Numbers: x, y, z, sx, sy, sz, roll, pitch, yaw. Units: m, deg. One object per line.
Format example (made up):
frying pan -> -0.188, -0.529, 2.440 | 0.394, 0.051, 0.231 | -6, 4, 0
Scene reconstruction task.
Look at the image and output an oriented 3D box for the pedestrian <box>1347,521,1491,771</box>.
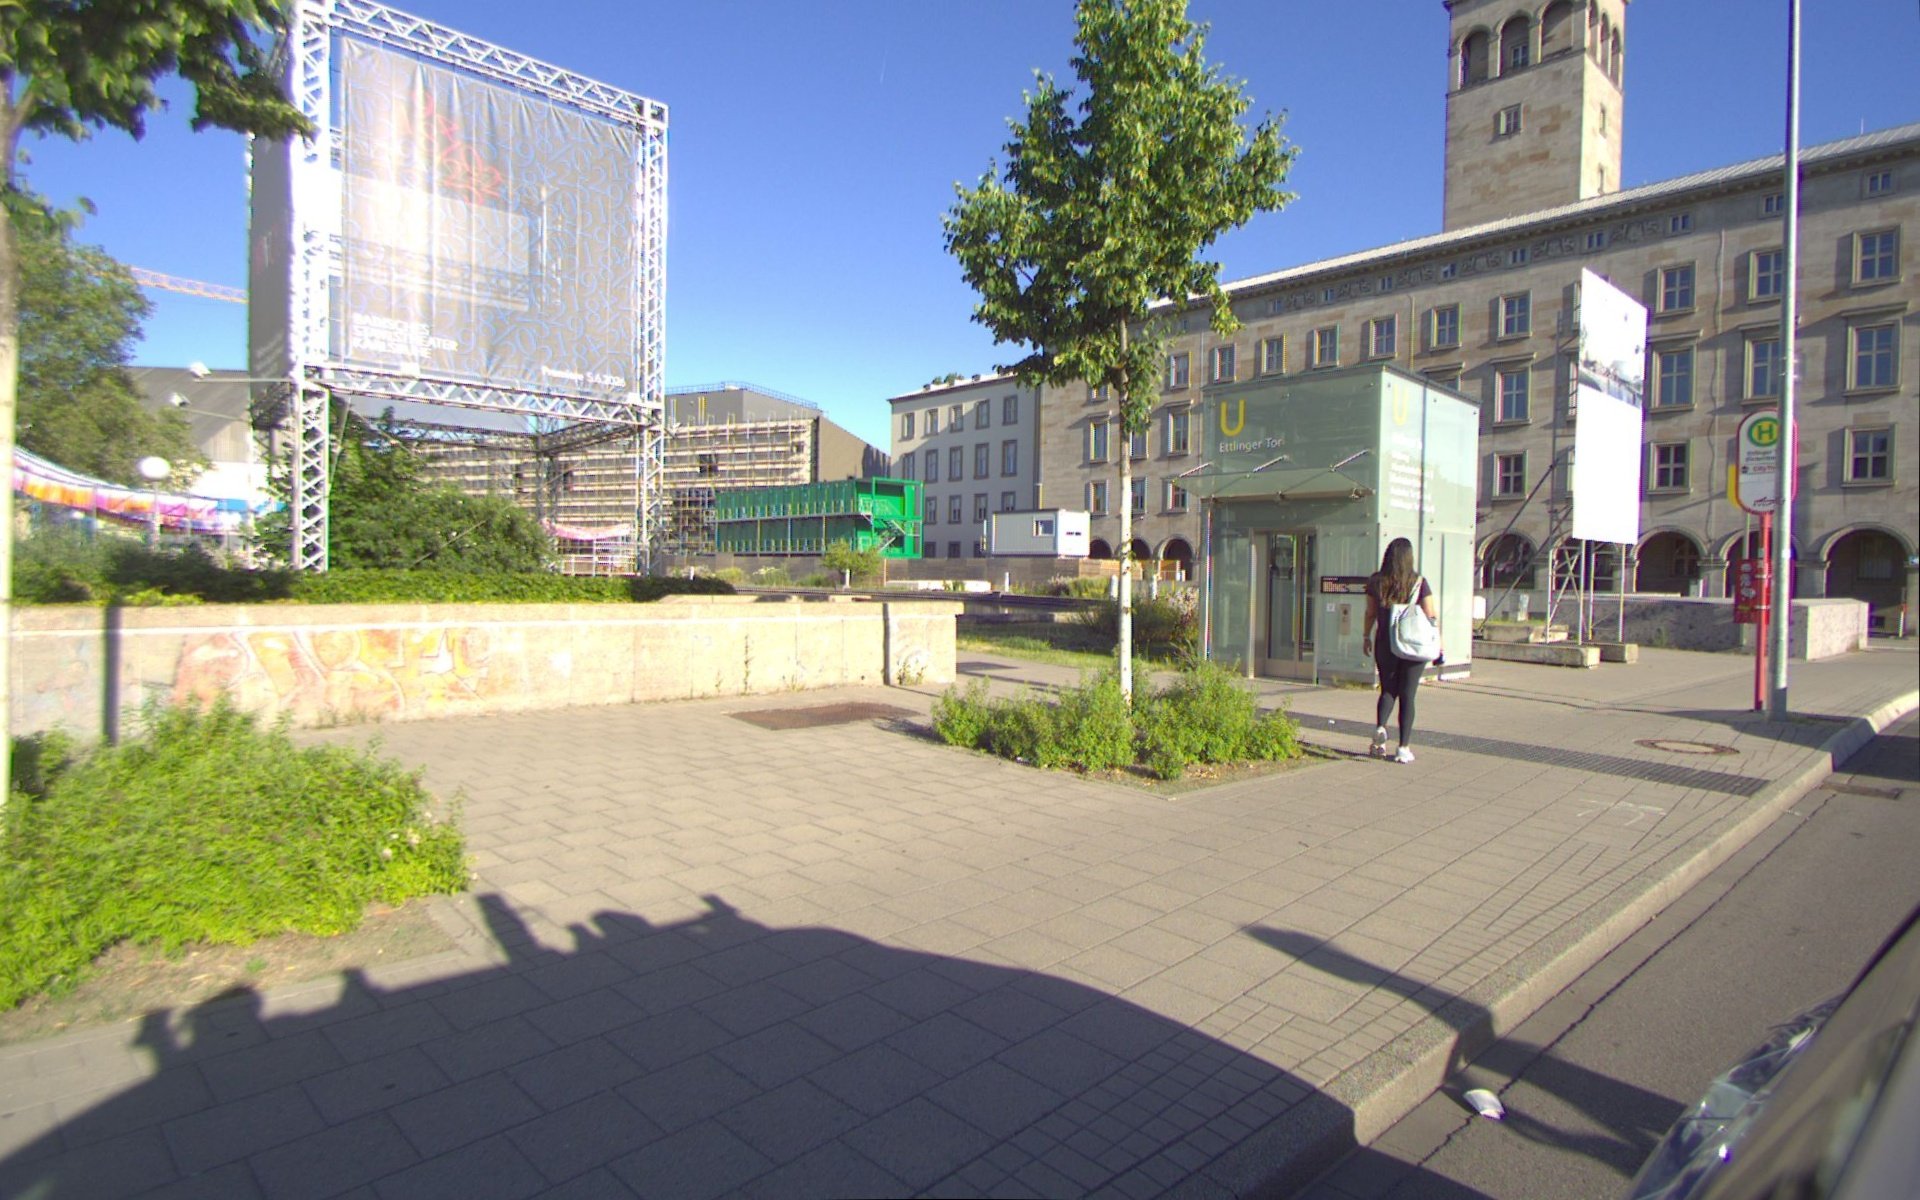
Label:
pedestrian -> 3.583, 0.313, 7.973 | 0.932, 1.809, 1.064 | 1, 1, 23
